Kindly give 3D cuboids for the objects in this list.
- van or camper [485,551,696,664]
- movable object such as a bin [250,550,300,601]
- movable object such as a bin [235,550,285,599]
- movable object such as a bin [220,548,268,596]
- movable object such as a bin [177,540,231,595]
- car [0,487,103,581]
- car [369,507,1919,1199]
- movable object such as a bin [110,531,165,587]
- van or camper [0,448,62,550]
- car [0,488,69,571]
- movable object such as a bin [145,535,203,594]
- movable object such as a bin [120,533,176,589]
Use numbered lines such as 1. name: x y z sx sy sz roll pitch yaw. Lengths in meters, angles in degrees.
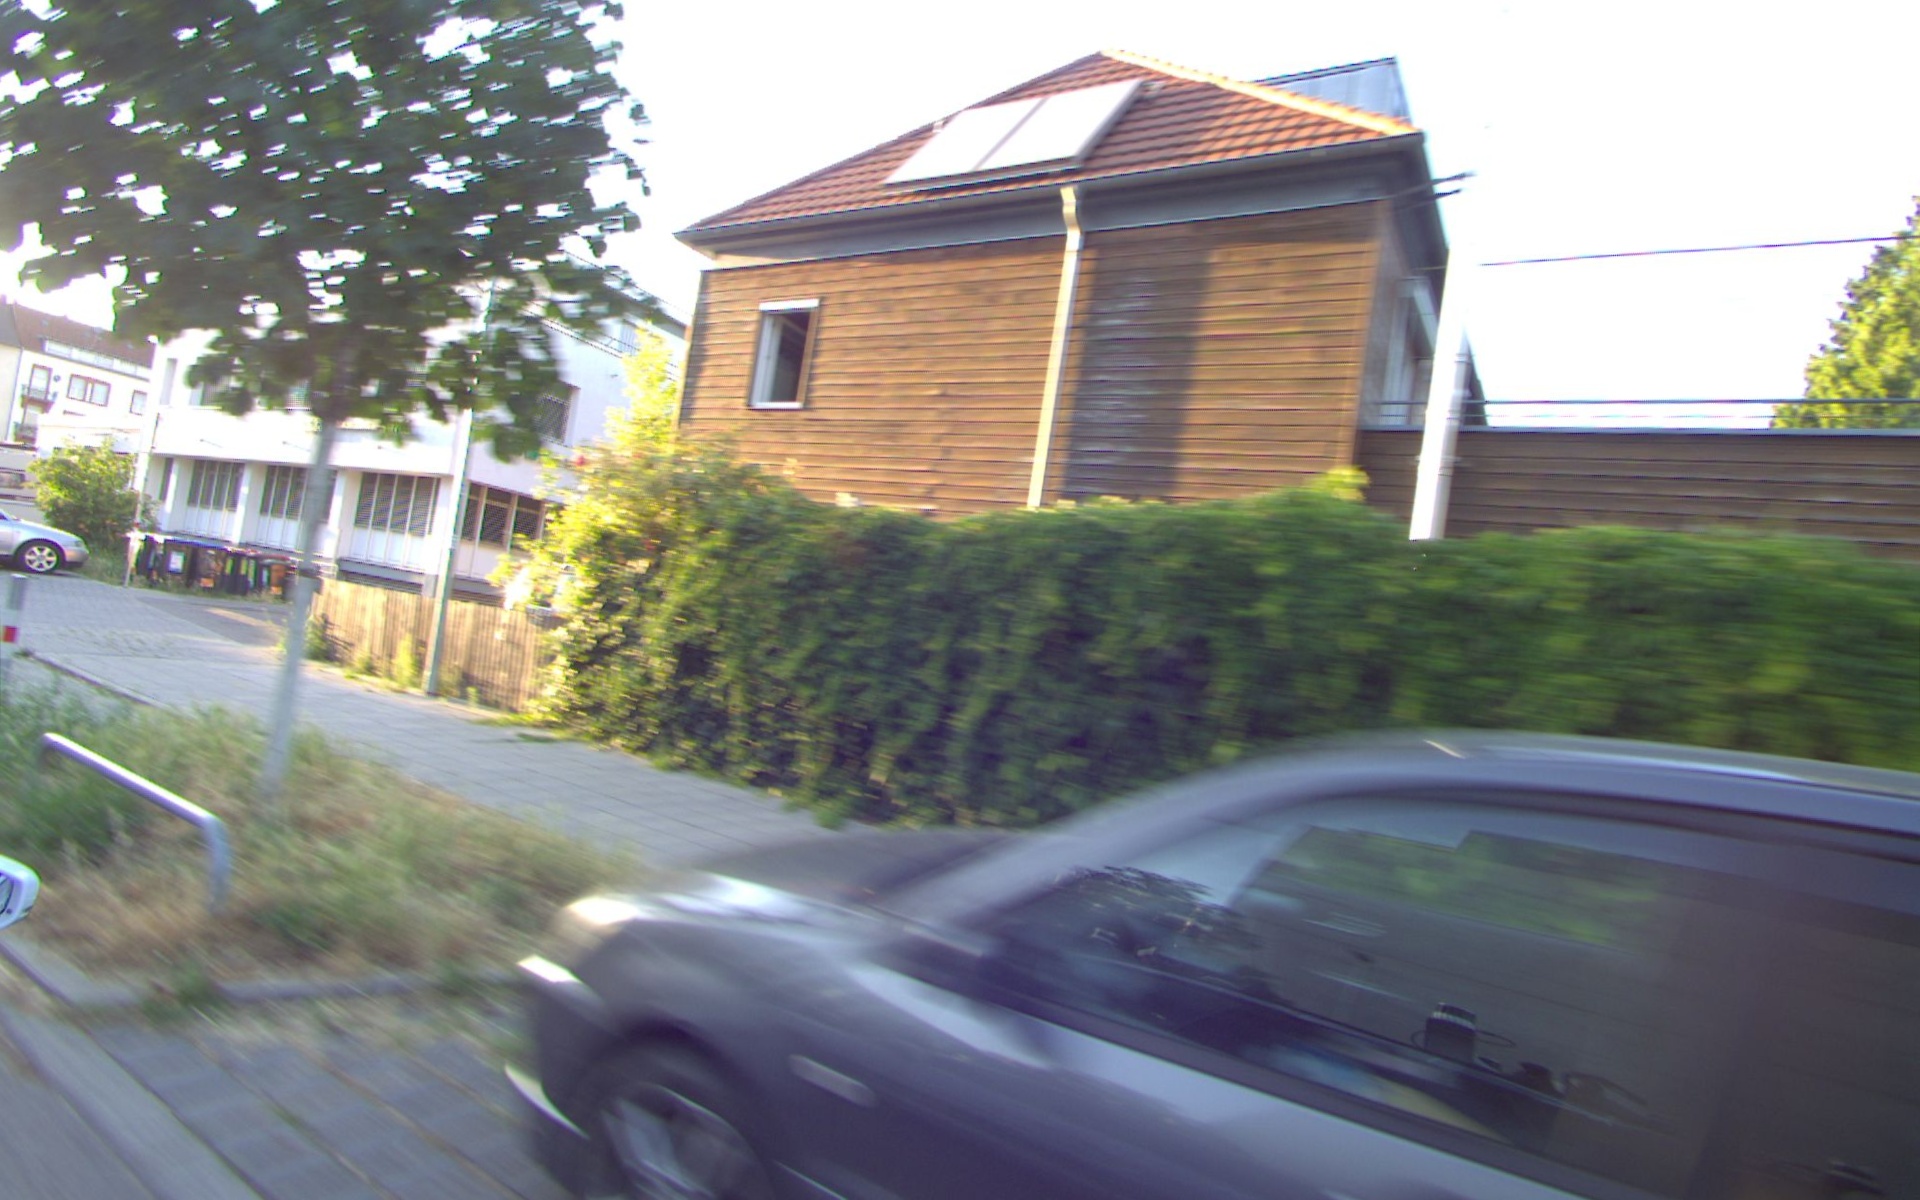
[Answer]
1. van or camper: -7.239 0.212 20.055 1.751 1.652 3.512 8 -2 27
2. movable object such as a bin: -15.071 -0.535 22.143 0.677 0.969 0.579 8 -2 33
3. movable object such as a bin: -15.664 -0.572 22.518 0.677 0.969 0.579 8 -2 33
4. movable object such as a bin: -16.327 -0.638 22.945 0.677 0.969 0.579 8 -2 33
5. movable object such as a bin: -15.397 -0.663 20.491 0.677 0.969 0.579 8 -2 33
6. car: -18.279 -1.420 17.995 1.738 1.496 4.057 9 -1 33
7. car: 0.991 0.884 1.850 4.526 1.598 1.726 7 -2 35
8. movable object such as a bin: -16.949 -0.839 20.732 0.677 1.021 0.579 6 -2 33
9. van or camper: -30.040 -3.346 28.959 2.390 2.822 5.618 9 -1 33
10. car: -20.264 -1.650 19.495 1.738 1.496 4.057 9 -1 33
11. movable object such as a bin: -15.399 -0.698 19.704 0.677 1.022 0.579 8 -1 33
12. movable object such as a bin: -16.096 -0.778 19.950 0.678 1.021 0.579 3 -5 32
